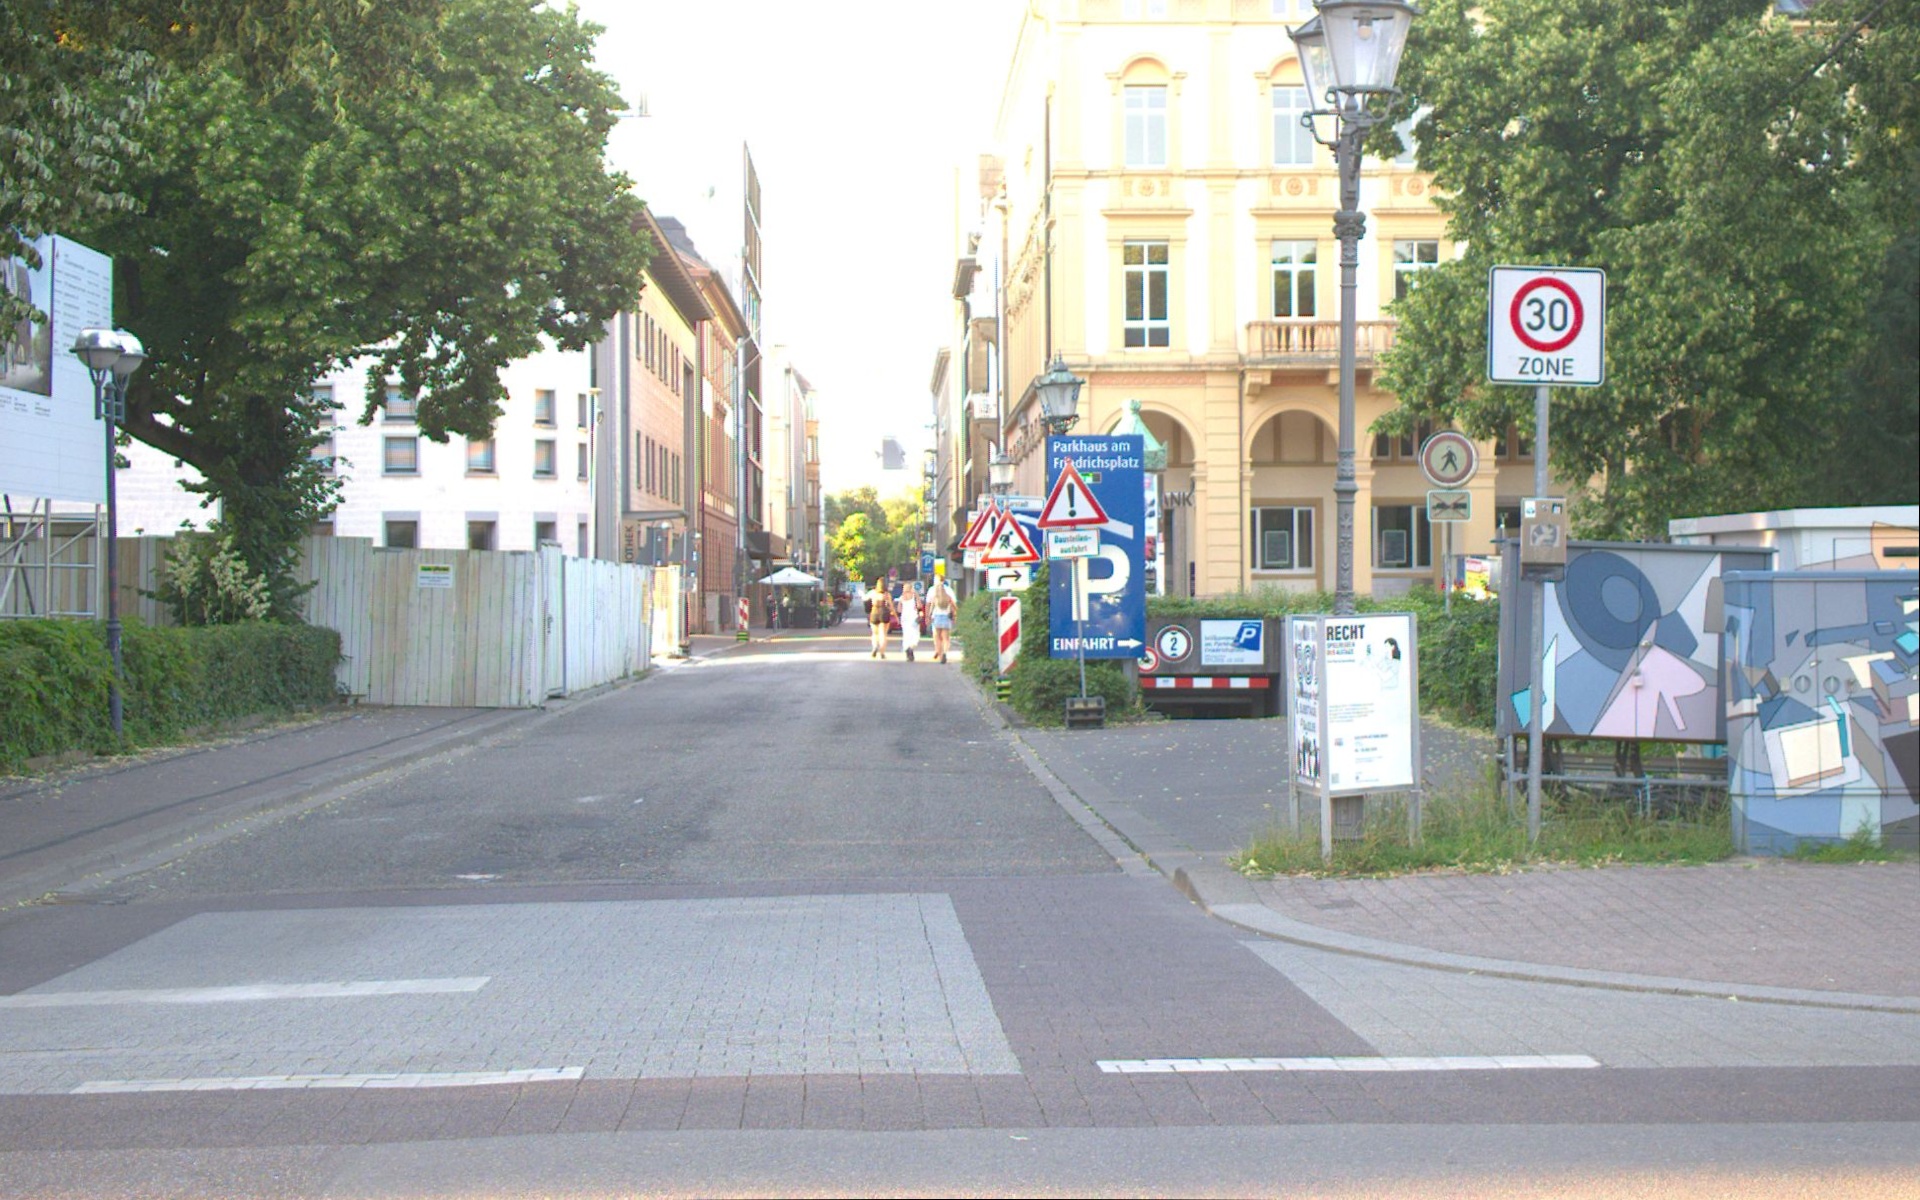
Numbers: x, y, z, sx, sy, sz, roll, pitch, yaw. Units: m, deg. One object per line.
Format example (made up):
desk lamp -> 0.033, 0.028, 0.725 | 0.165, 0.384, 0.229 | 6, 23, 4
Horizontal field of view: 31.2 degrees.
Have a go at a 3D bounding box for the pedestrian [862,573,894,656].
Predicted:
pedestrian -> -1.746, 0.311, 73.415 | 0.657, 1.754, 0.745 | -1, 0, -1

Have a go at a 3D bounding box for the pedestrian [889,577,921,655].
pedestrian -> -1.157, 0.334, 72.356 | 0.657, 1.611, 0.745 | -1, 0, -1

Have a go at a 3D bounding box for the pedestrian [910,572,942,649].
pedestrian -> -0.725, 0.224, 73.344 | 0.657, 1.630, 0.745 | -1, 0, -1

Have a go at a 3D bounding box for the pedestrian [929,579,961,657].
pedestrian -> -0.316, 0.376, 72.275 | 0.657, 1.611, 0.745 | -1, 0, -1
